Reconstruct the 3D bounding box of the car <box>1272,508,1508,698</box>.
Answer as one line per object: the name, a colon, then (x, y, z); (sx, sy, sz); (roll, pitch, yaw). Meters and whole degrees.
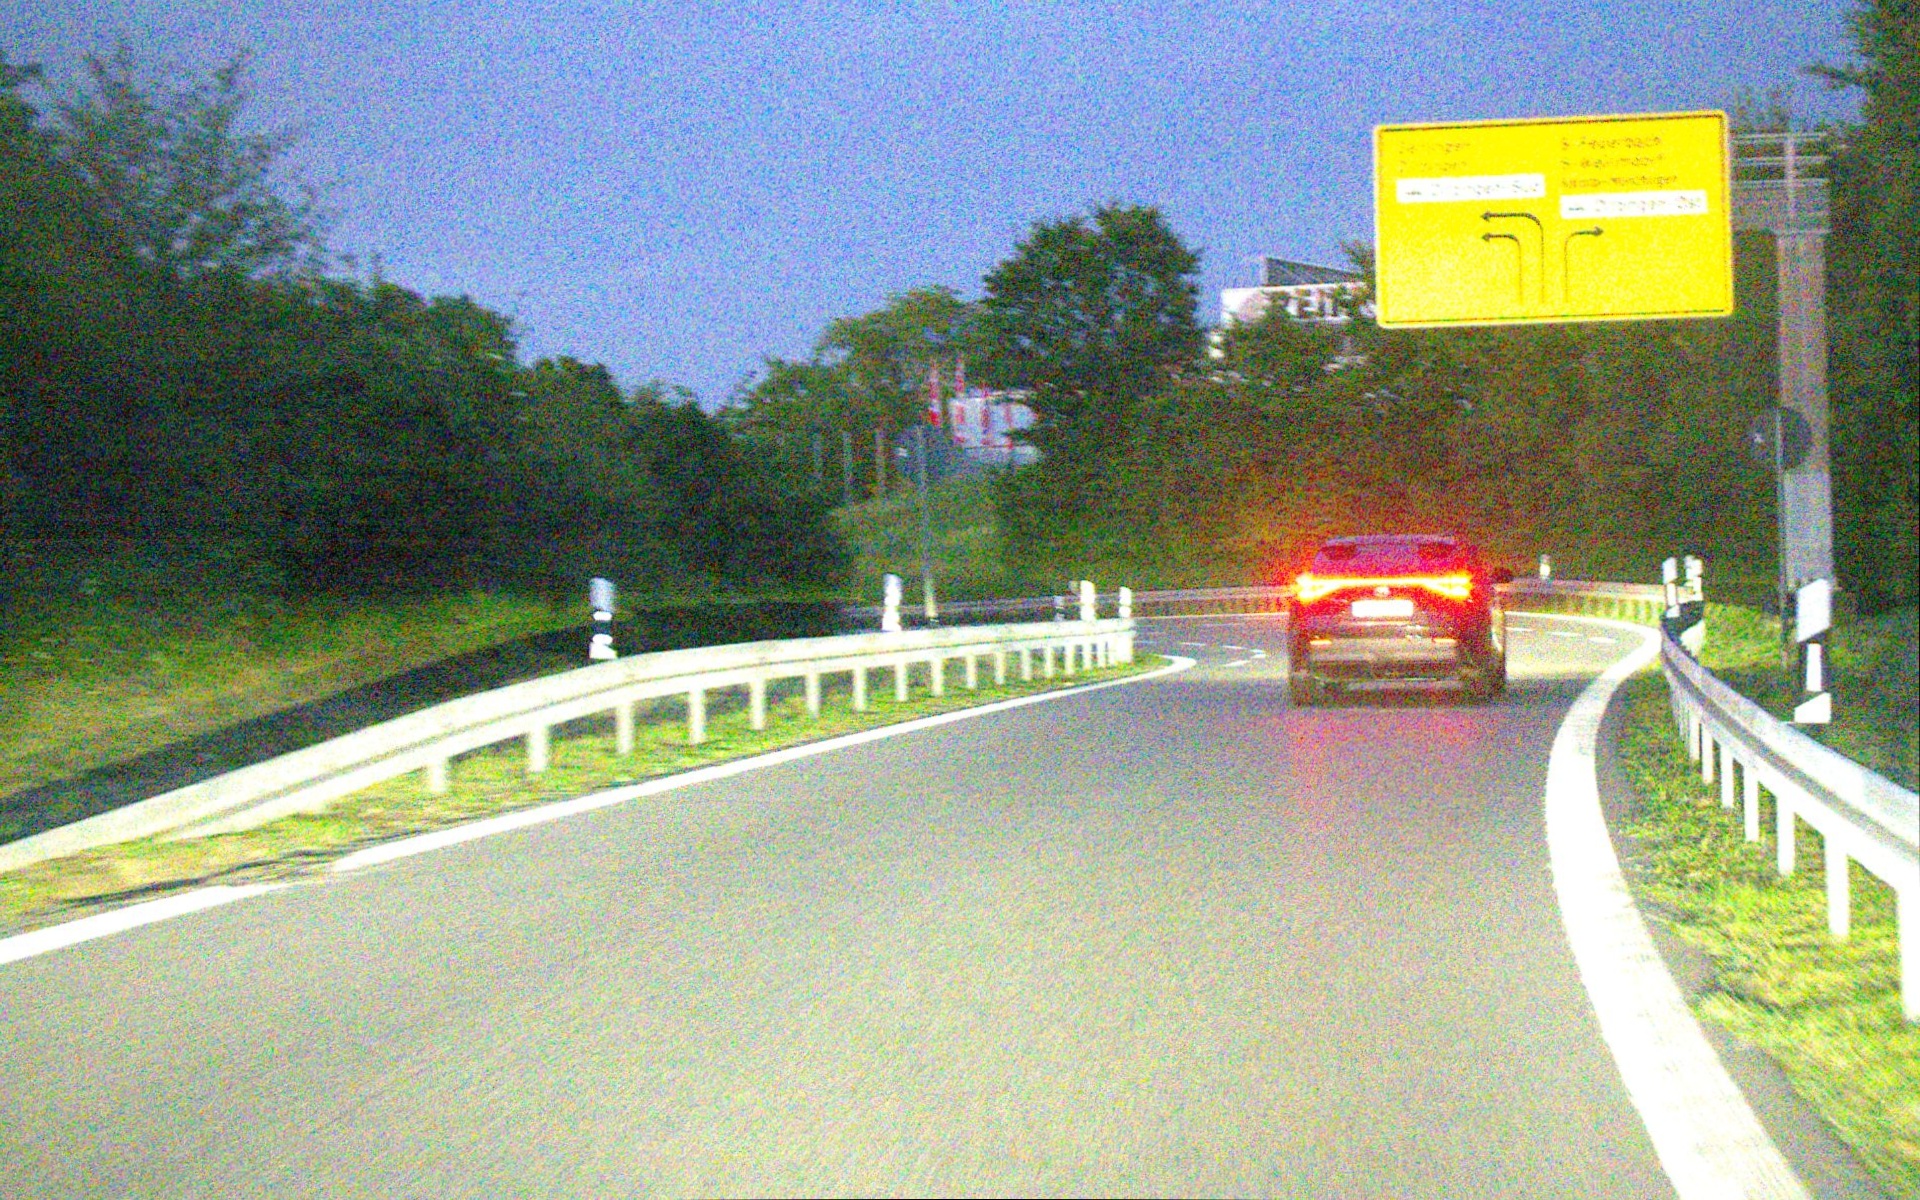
car: (4.201, -0.021, 33.034); (1.994, 1.653, 4.313); (-2, 1, 10)
